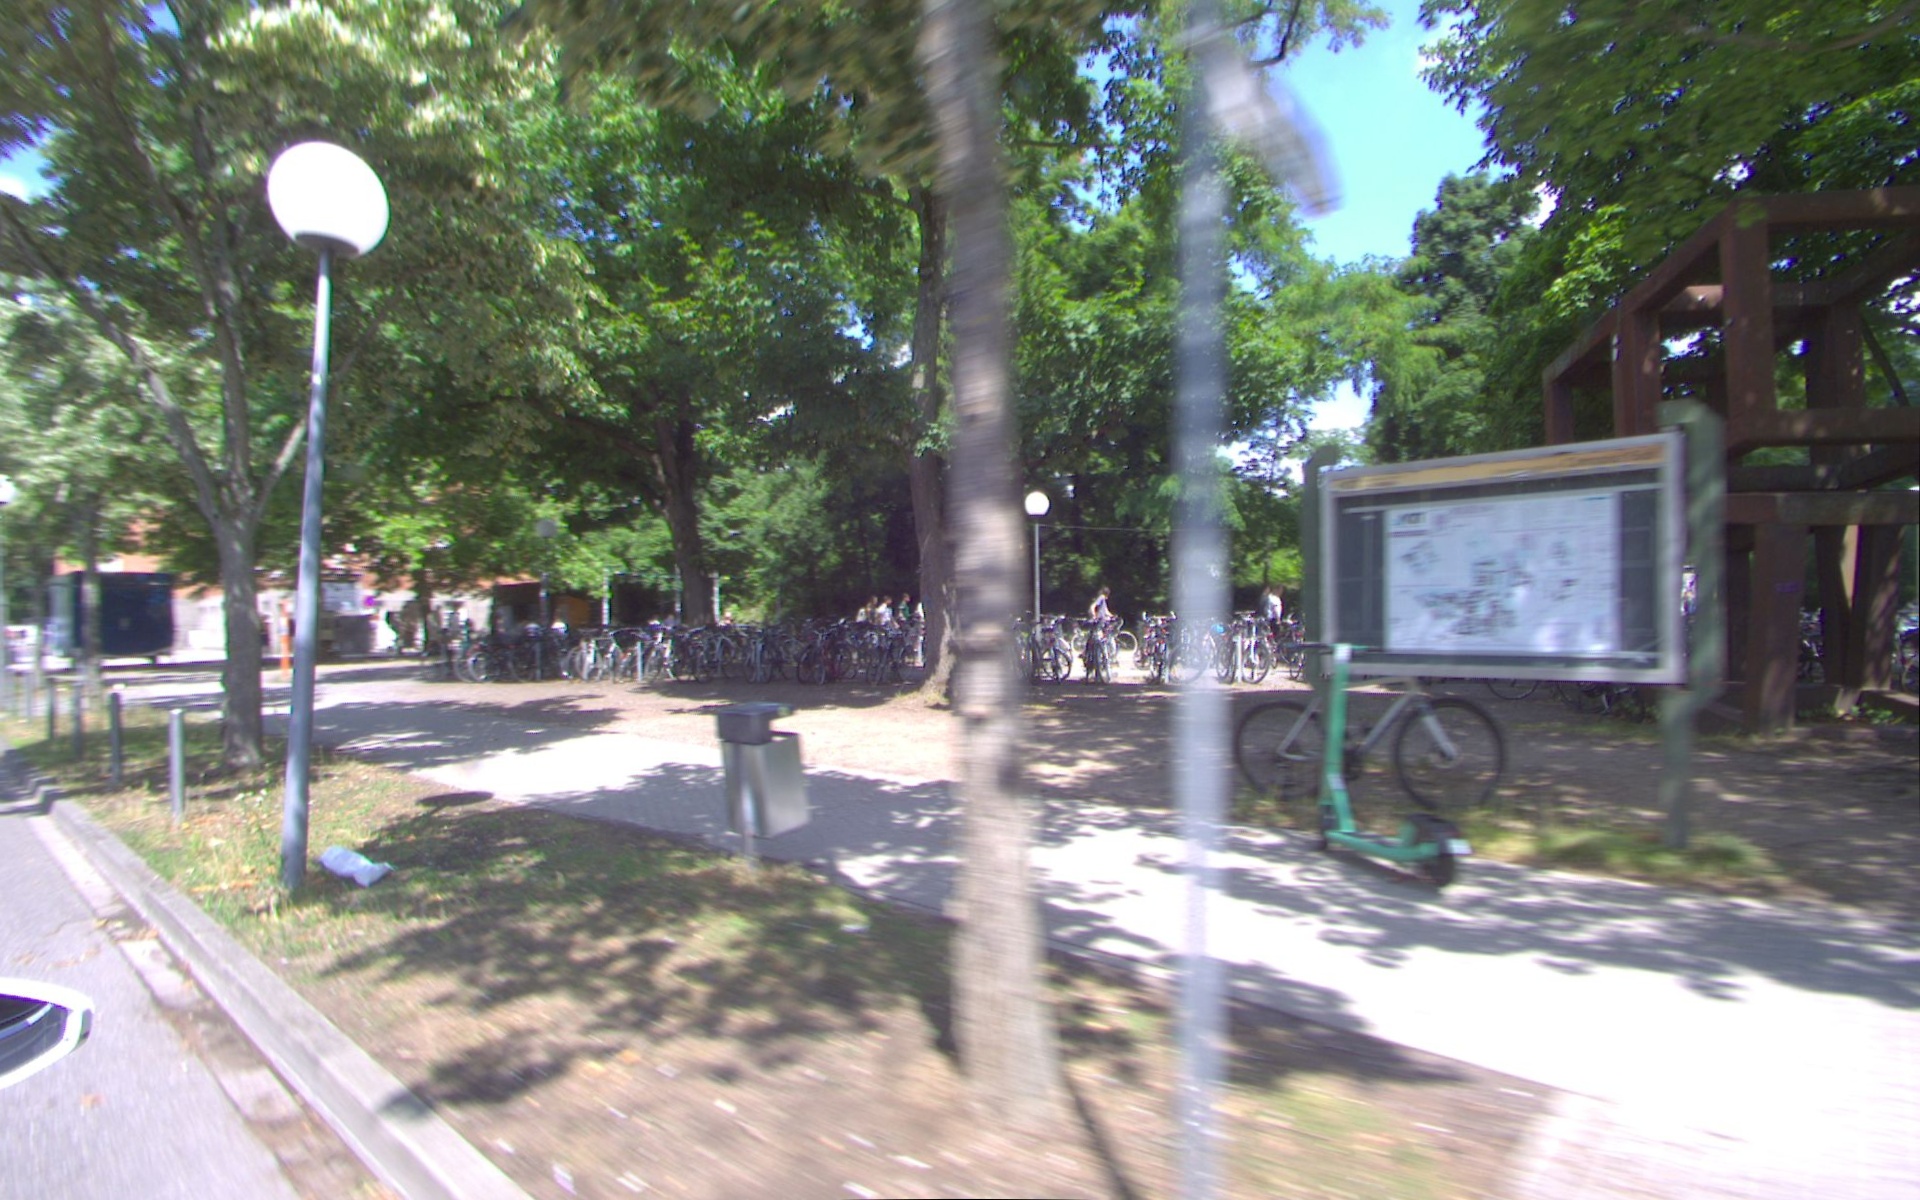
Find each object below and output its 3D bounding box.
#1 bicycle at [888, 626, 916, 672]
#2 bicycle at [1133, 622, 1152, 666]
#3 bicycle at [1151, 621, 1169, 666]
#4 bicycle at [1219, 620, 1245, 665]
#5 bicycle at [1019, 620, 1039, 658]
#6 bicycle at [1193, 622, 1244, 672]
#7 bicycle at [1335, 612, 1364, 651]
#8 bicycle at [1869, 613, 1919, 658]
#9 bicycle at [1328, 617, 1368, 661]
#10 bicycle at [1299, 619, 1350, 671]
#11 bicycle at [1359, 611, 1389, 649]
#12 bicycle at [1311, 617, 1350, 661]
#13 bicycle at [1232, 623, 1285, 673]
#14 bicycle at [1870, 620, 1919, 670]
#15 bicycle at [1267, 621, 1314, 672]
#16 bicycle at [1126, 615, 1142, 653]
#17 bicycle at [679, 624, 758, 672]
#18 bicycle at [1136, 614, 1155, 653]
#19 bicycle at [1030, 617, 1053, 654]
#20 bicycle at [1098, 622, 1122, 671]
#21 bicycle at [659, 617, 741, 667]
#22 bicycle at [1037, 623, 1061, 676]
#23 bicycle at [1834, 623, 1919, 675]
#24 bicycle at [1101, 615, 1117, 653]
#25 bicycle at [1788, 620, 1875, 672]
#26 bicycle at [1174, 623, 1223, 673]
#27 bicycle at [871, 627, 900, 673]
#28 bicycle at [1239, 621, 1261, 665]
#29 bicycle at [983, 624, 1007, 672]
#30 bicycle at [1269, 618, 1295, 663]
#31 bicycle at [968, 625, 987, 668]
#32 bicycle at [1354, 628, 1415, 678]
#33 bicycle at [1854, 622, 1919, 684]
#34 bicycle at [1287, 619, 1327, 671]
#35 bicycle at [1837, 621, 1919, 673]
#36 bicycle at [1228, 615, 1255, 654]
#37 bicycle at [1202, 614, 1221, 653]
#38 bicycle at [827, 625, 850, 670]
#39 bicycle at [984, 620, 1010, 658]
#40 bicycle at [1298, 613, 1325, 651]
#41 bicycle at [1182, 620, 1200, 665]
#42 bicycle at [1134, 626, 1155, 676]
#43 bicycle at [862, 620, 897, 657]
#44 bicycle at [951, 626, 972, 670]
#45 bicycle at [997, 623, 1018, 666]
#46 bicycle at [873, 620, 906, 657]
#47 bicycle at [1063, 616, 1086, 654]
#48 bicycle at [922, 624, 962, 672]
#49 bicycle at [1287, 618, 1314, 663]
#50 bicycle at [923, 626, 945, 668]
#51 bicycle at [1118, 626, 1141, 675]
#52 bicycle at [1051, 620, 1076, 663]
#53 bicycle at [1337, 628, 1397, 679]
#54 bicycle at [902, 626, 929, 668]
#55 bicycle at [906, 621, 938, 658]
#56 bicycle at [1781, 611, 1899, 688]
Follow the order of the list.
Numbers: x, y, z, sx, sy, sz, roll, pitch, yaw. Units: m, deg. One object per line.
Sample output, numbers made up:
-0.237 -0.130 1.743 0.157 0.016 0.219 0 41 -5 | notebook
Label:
-1.333 1.122 23.255 0.469 0.992 1.904 -1 0 1 | bicycle
4.368 1.029 23.902 0.371 0.992 1.902 -1 0 12 | bicycle
4.761 1.021 23.840 0.371 0.992 1.902 -1 0 12 | bicycle
6.437 0.991 23.740 0.469 0.992 1.902 -1 0 12 | bicycle
2.099 1.173 30.414 0.341 1.108 1.610 -1 0 13 | bicycle
5.486 0.982 21.347 0.371 0.992 1.903 -1 0 -7 | bicycle
11.476 0.912 29.538 0.341 1.108 1.611 -1 0 5 | bicycle
23.661 0.892 24.842 0.470 1.097 1.688 2 -2 -10 | bicycle
9.163 0.905 23.694 0.396 0.992 1.597 -1 0 3 | bicycle
7.697 0.936 21.215 0.469 1.036 1.743 -1 0 2 | bicycle
12.368 0.877 29.951 0.341 1.108 1.611 -1 0 5 | bicycle
8.762 0.915 23.727 0.396 0.992 1.597 -1 0 3 | bicycle
6.319 0.993 21.277 0.371 0.992 1.903 -1 0 -5 | bicycle
21.366 1.013 22.250 0.470 1.097 1.686 3 -2 -16 | bicycle
7.048 0.971 21.426 0.469 1.036 1.743 -1 0 2 | bicycle
5.238 1.001 30.134 0.341 1.108 1.610 -1 0 13 | bicycle
-5.686 1.138 23.586 1.872 1.097 0.477 -1 0 22 | bicycle
5.579 0.995 30.051 0.470 1.108 1.610 -1 0 13 | bicycle
2.498 1.070 30.577 0.470 1.108 1.610 -1 0 13 | bicycle
3.268 0.990 21.740 0.371 0.992 1.902 -1 0 12 | bicycle
-5.875 0.948 22.632 1.872 1.097 0.477 -1 0 22 | bicycle
1.982 1.078 22.232 0.469 1.097 1.903 -1 0 7 | bicycle
20.144 1.057 21.806 0.470 1.097 1.686 3 -2 -16 | bicycle
4.515 1.023 30.271 0.341 1.108 1.610 -1 0 13 | bicycle
19.347 1.010 22.255 0.347 1.097 1.469 3 -2 -19 | bicycle
5.049 1.003 21.287 0.371 0.992 1.903 -1 0 -7 | bicycle
-1.727 1.130 23.267 0.469 0.992 1.904 -1 0 1 | bicycle
6.846 0.997 23.693 0.371 0.992 1.902 -1 0 12 | bicycle
0.792 1.050 22.366 0.469 0.992 1.904 -1 0 4 | bicycle
7.597 0.937 23.664 0.371 0.992 1.902 -1 0 12 | bicycle
0.443 1.126 24.662 0.371 0.992 1.904 -1 0 4 | bicycle
9.030 1.107 21.362 0.469 0.992 1.904 -1 0 -1 | bicycle
17.092 0.944 18.040 1.454 1.098 0.350 -1 -1 40 | bicycle
7.415 0.943 21.454 0.287 1.036 1.743 -1 0 2 | bicycle
20.537 1.038 22.176 0.470 1.097 1.686 3 -2 -16 | bicycle
8.282 0.993 29.498 0.469 1.108 1.611 -1 0 5 | bicycle
7.342 0.962 29.250 0.341 1.108 1.611 -1 0 7 | bicycle
-2.843 1.093 23.436 0.469 0.992 1.903 -1 0 -6 | bicycle
1.146 1.190 30.892 0.470 1.108 1.610 -1 0 13 | bicycle
10.447 0.935 29.797 0.341 1.108 1.611 -1 0 5 | bicycle
5.495 0.998 23.862 0.371 0.992 1.902 -1 0 12 | bicycle
4.019 1.088 21.716 0.371 0.992 1.902 -1 0 12 | bicycle
-2.554 1.214 31.907 0.470 1.108 1.751 -1 0 16 | bicycle
0.044 1.166 24.758 0.371 0.992 1.904 -1 0 4 | bicycle
1.188 1.082 24.779 0.469 0.992 1.904 -1 0 4 | bicycle
-2.225 1.206 31.811 0.470 1.108 1.751 -1 0 16 | bicycle
3.471 1.053 30.246 0.470 1.108 1.610 -1 0 13 | bicycle
-0.388 1.066 22.679 0.469 0.992 1.902 -1 0 12 | bicycle
8.002 0.937 23.570 0.371 0.992 1.902 -1 0 12 | bicycle
-0.657 1.163 25.354 0.371 0.992 1.904 -1 0 4 | bicycle
3.701 1.081 21.796 0.371 0.992 1.902 -1 0 12 | bicycle
2.543 0.999 24.547 0.371 0.992 1.902 -1 0 12 | bicycle
8.654 1.116 21.367 0.469 0.992 1.904 -1 0 -1 | bicycle
-1.108 1.169 25.273 0.469 0.992 1.904 -1 0 4 | bicycle
-1.187 1.238 31.740 0.342 1.108 1.606 -1 0 24 | bicycle
14.309 0.772 16.348 0.405 1.185 1.845 0 -1 4 | bicycle
